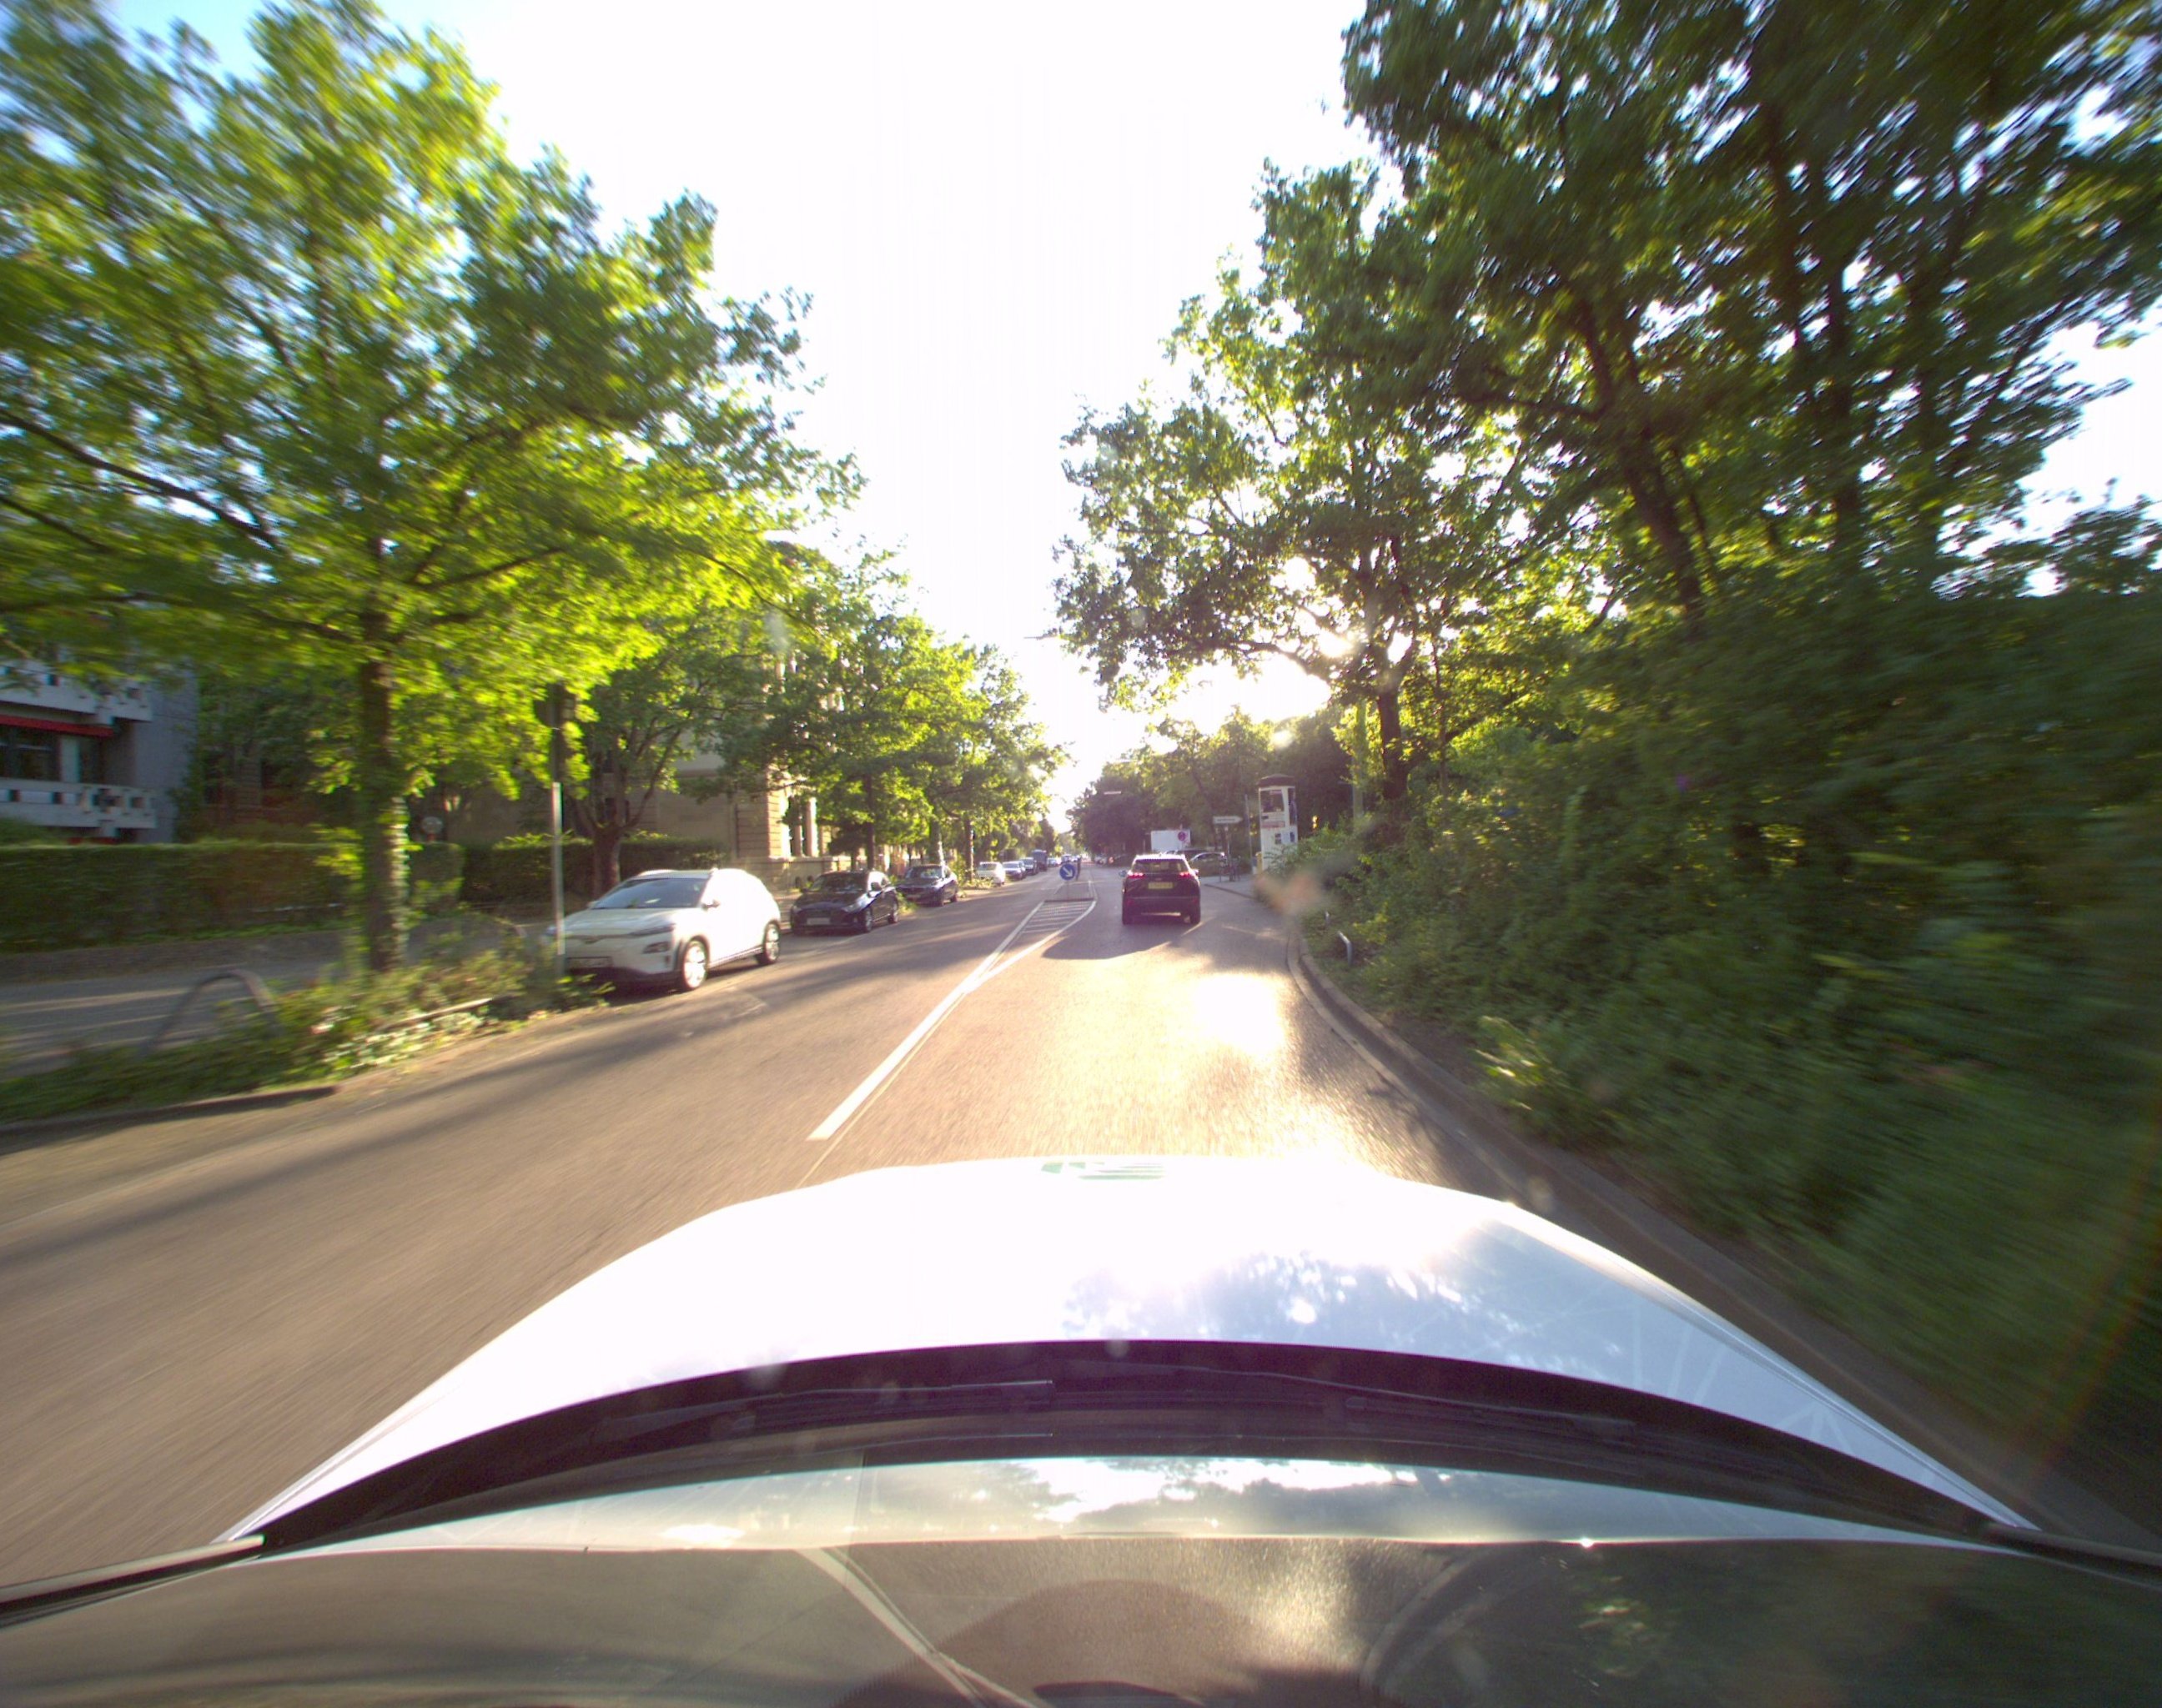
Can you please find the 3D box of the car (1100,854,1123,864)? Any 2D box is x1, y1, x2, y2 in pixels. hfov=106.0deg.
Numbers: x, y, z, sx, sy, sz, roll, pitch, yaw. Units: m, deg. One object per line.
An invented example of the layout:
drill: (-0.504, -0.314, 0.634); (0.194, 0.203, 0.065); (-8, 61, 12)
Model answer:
car: (5.309, 0.884, 142.064); (3.975, 1.554, 1.725); (-4, -1, -1)

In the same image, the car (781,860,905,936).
car: (-5.687, 0.983, 19.997); (1.774, 1.616, 4.146); (-1, 0, 0)

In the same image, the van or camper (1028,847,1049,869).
van or camper: (-5.266, 0.518, 101.429); (2.223, 2.544, 7.077); (-1, 0, 0)

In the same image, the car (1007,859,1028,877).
car: (-5.610, 1.186, 71.289); (1.716, 1.496, 4.368); (-2, 0, -6)

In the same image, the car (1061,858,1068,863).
car: (-4.482, 1.790, 225.187); (1.894, 1.574, 3.999); (-2, 0, 0)

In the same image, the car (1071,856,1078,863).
car: (-1.584, 1.409, 205.295); (1.735, 1.458, 4.622); (-3, 0, 0)

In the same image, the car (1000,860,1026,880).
car: (-5.323, 1.218, 63.947); (1.612, 1.496, 4.376); (-2, 0, 0)

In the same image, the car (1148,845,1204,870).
car: (8.825, 0.316, 75.689); (4.838, 1.915, 1.915); (-4, 0, -1)

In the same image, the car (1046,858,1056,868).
car: (-5.033, 1.464, 136.724); (1.609, 1.515, 3.709); (-4, 0, -2)

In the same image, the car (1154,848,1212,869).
car: (9.138, 0.416, 73.255); (4.912, 1.554, 1.915); (-4, 0, -1)

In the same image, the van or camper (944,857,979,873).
van or camper: (-18.063, 1.647, 123.317); (4.750, 1.985, 2.002); (-2, 4, 2)

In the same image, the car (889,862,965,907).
car: (-5.715, 1.075, 30.783); (1.796, 1.510, 4.863); (-1, 0, 1)

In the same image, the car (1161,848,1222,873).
car: (8.478, 0.476, 62.871); (4.350, 1.554, 1.875); (-4, 0, -1)

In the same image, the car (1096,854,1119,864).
car: (4.913, 0.940, 152.162); (4.232, 1.449, 2.019); (-4, 0, -3)

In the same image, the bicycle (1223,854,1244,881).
bicycle: (7.399, 0.628, 39.434); (0.488, 1.148, 2.297); (-5, 0, 20)

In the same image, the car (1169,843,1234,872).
car: (8.842, 0.255, 59.997); (4.350, 1.780, 1.920); (-4, 0, -1)

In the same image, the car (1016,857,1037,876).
car: (-5.472, 1.210, 81.564); (1.771, 1.866, 4.332); (0, 0, 0)

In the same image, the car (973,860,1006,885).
car: (-5.746, 1.142, 51.328); (1.612, 1.496, 3.924); (-2, 0, 0)

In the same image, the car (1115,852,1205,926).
car: (1.786, 0.748, 19.648); (1.766, 1.568, 4.108); (-1, 0, 0)

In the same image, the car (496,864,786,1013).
car: (-5.859, 1.005, 11.529); (1.797, 1.616, 4.146); (-2, 0, 0)

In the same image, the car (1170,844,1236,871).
car: (8.597, 0.268, 57.750); (4.350, 1.554, 1.727); (-4, 0, -1)
